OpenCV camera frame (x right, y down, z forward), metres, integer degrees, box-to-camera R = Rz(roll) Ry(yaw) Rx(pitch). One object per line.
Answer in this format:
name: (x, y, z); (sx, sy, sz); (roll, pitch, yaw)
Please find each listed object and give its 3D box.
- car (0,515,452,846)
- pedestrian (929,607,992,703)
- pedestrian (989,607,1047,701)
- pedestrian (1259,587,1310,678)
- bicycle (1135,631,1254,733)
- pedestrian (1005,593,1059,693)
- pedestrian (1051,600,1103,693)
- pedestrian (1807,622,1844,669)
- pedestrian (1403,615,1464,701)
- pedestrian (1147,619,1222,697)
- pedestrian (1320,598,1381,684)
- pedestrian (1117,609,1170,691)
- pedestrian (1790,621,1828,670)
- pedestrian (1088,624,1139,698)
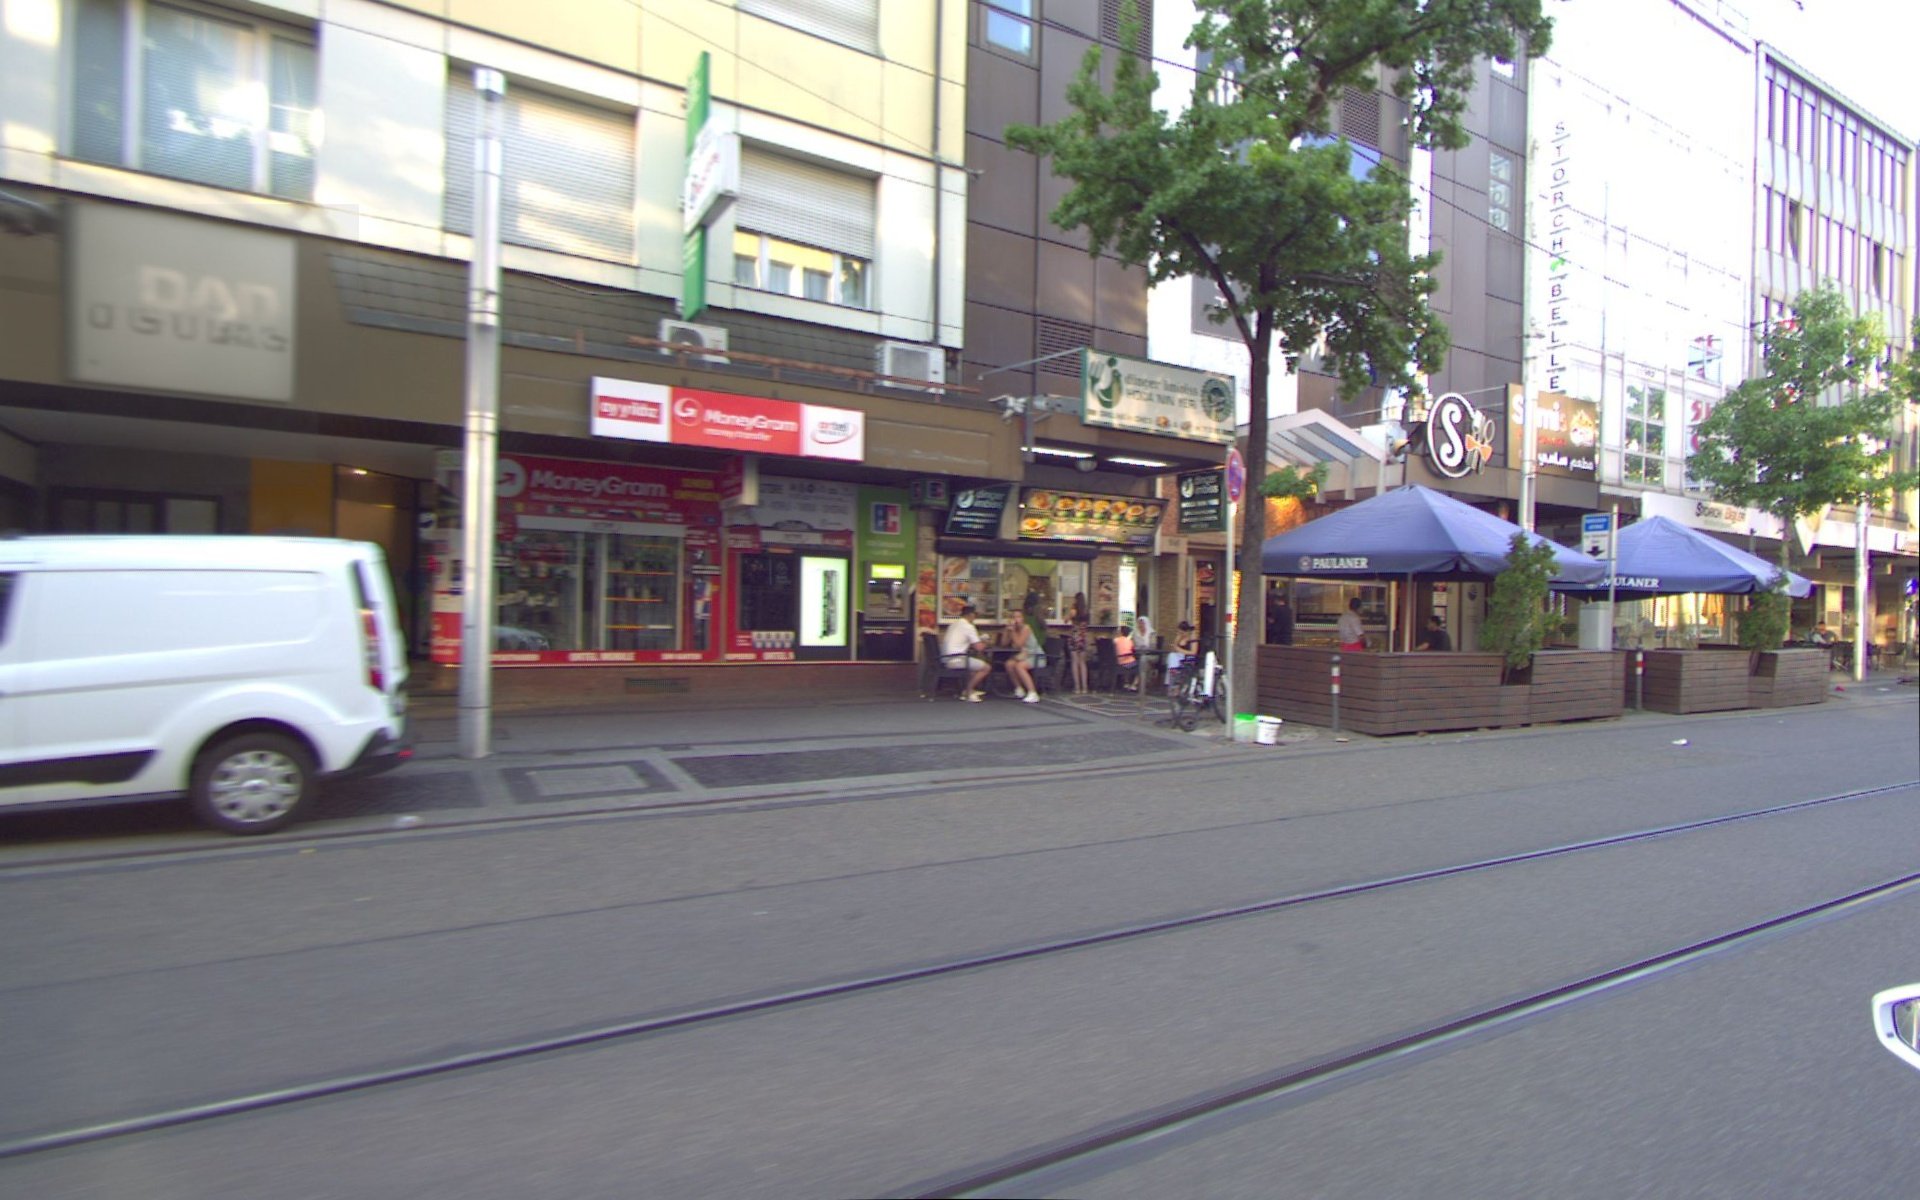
car: (-5.758, 0.419, 6.336); (4.461, 1.842, 1.786); (2, 1, -29)
pedestrian: (0.008, 0.753, 13.895); (0.653, 1.259, 0.508); (2, 3, -30)
pedestrian: (0.831, 0.765, 14.378); (0.580, 1.273, 0.519); (2, 3, -30)
pedestrian: (5.902, 0.586, 18.283); (0.554, 1.618, 0.601); (2, 2, -29)
bicycle: (3.046, 0.996, 12.883); (0.800, 1.118, 2.160); (1, 0, 33)
pedestrian: (1.087, 0.640, 15.249); (0.505, 1.453, 0.607); (2, 3, -27)
pedestrian: (1.812, 0.719, 15.581); (0.597, 1.391, 0.442); (2, 2, -21)
pedestrian: (25.562, 1.349, 29.669); (0.717, 1.337, 0.571); (2, 2, -30)
pedestrian: (7.448, 0.905, 15.820); (0.598, 1.273, 0.556); (2, 3, -30)
pedestrian: (3.503, 0.899, 15.735); (0.766, 1.135, 0.820); (2, 2, -21)
pedestrian: (6.091, 0.635, 15.691); (0.554, 1.273, 0.601); (2, 3, -29)
pedestrian: (2.997, 0.813, 16.427); (0.598, 1.274, 0.557); (2, 2, -26)
pedestrian: (24.593, 1.317, 29.111); (0.717, 1.337, 0.571); (2, 2, -30)
pedestrian: (2.338, 0.924, 15.294); (0.649, 1.043, 0.454); (3, 2, -1)
